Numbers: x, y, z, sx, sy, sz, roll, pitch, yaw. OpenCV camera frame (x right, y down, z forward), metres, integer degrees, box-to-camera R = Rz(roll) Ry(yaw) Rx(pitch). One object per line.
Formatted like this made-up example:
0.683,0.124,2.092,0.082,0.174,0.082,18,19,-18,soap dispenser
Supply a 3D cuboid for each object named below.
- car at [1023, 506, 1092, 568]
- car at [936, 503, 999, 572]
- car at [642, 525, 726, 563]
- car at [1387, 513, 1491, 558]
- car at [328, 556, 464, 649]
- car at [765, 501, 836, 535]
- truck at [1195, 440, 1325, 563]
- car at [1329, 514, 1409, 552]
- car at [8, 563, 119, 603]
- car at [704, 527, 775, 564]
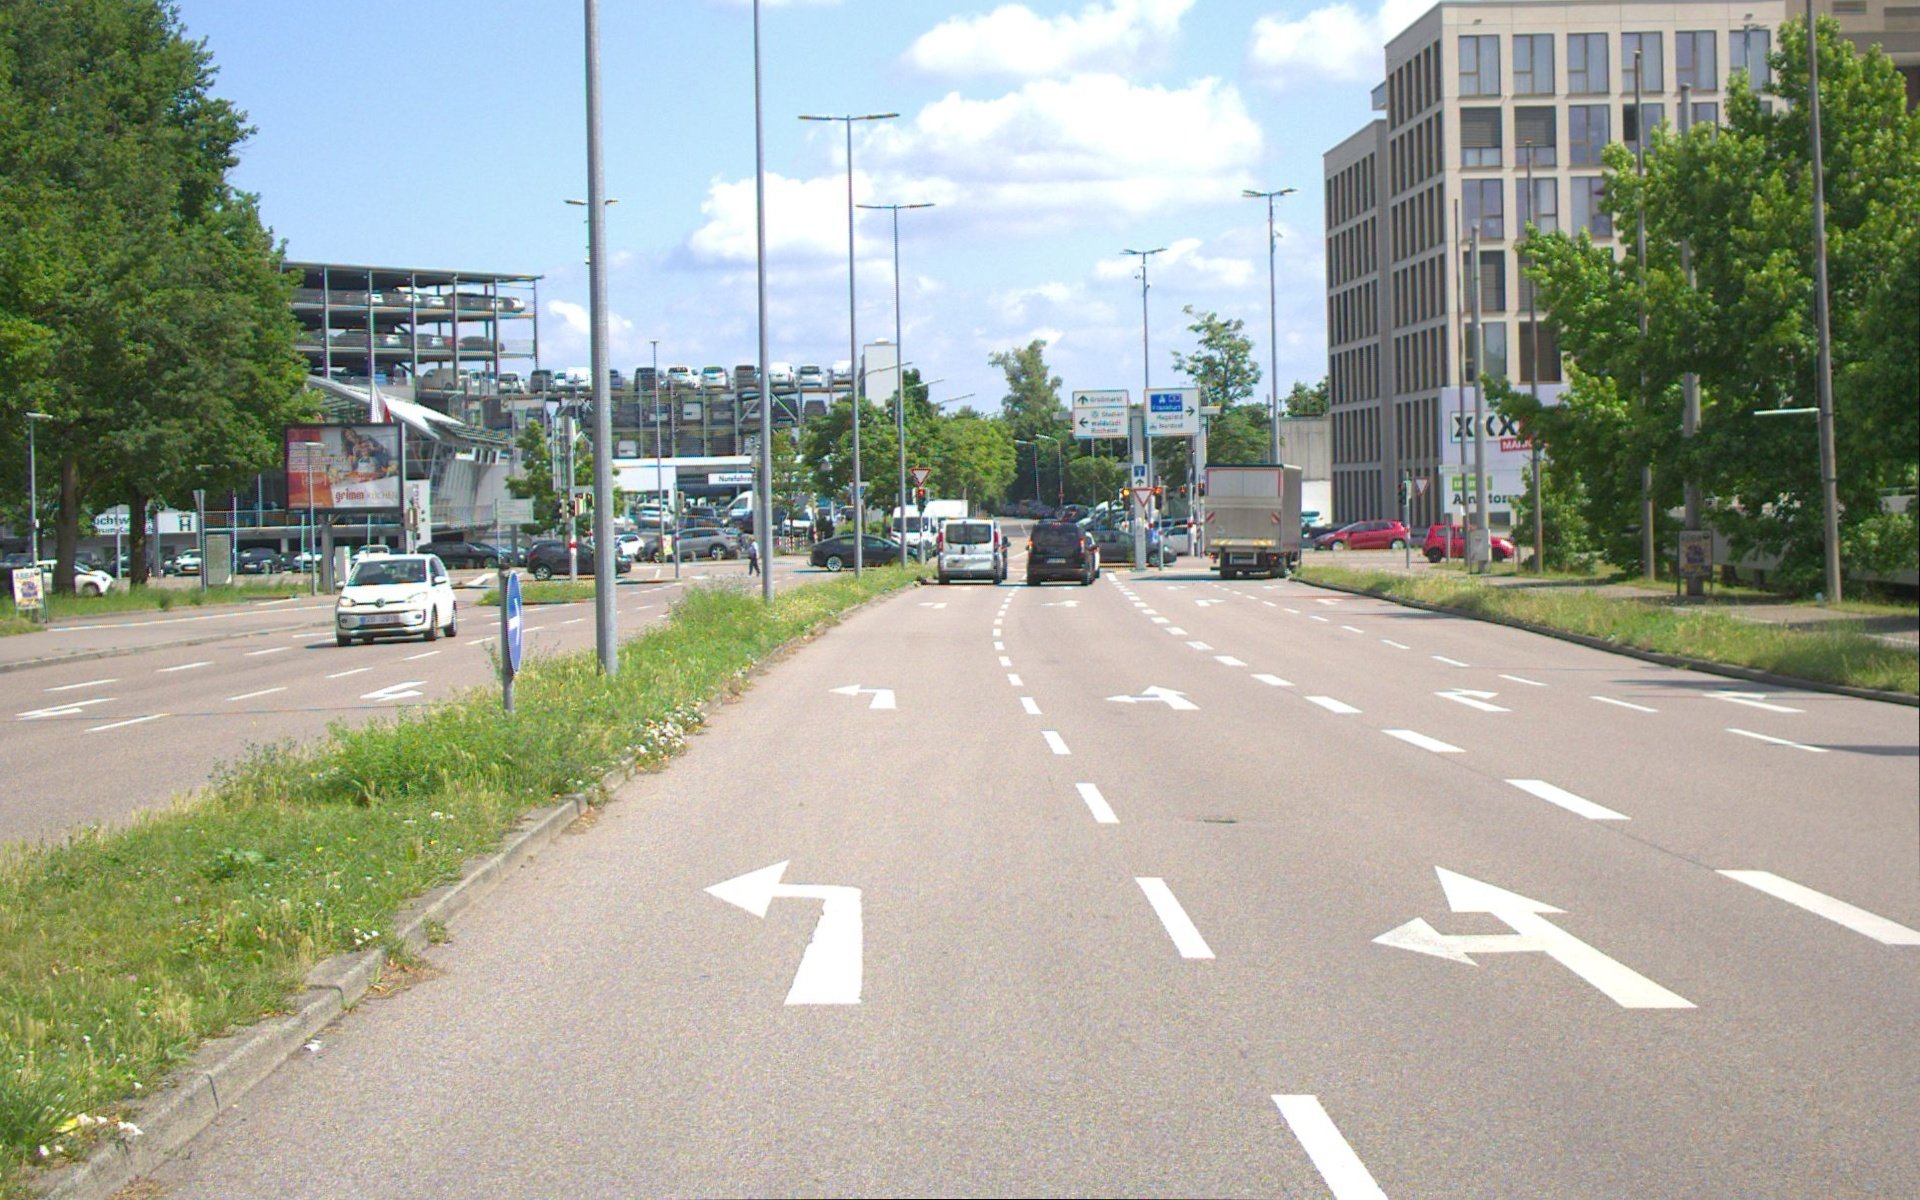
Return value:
2.901,-1.877,101.461,1.820,1.802,4.000,0,2,5,car
0.208,-1.913,104.196,1.856,2.011,4.001,0,2,0,car
-13.242,-2.685,164.879,3.861,1.633,1.858,-3,2,-2,car
18.749,-2.522,134.474,3.988,1.656,2.000,0,2,9,car
-9.438,0.016,57.761,1.643,1.424,3.670,-3,1,-1,car
-9.102,-4.695,196.164,3.986,1.919,1.827,-1,1,-4,car
10.154,-3.348,115.448,3.131,3.927,8.854,0,2,13,truck
17.784,-2.915,149.556,3.272,1.400,1.334,-1,10,0,car
-34.795,-0.661,133.482,3.850,1.461,1.696,-1,2,-1,car
-11.205,-2.765,174.988,3.507,1.707,1.604,-3,2,-2,car
